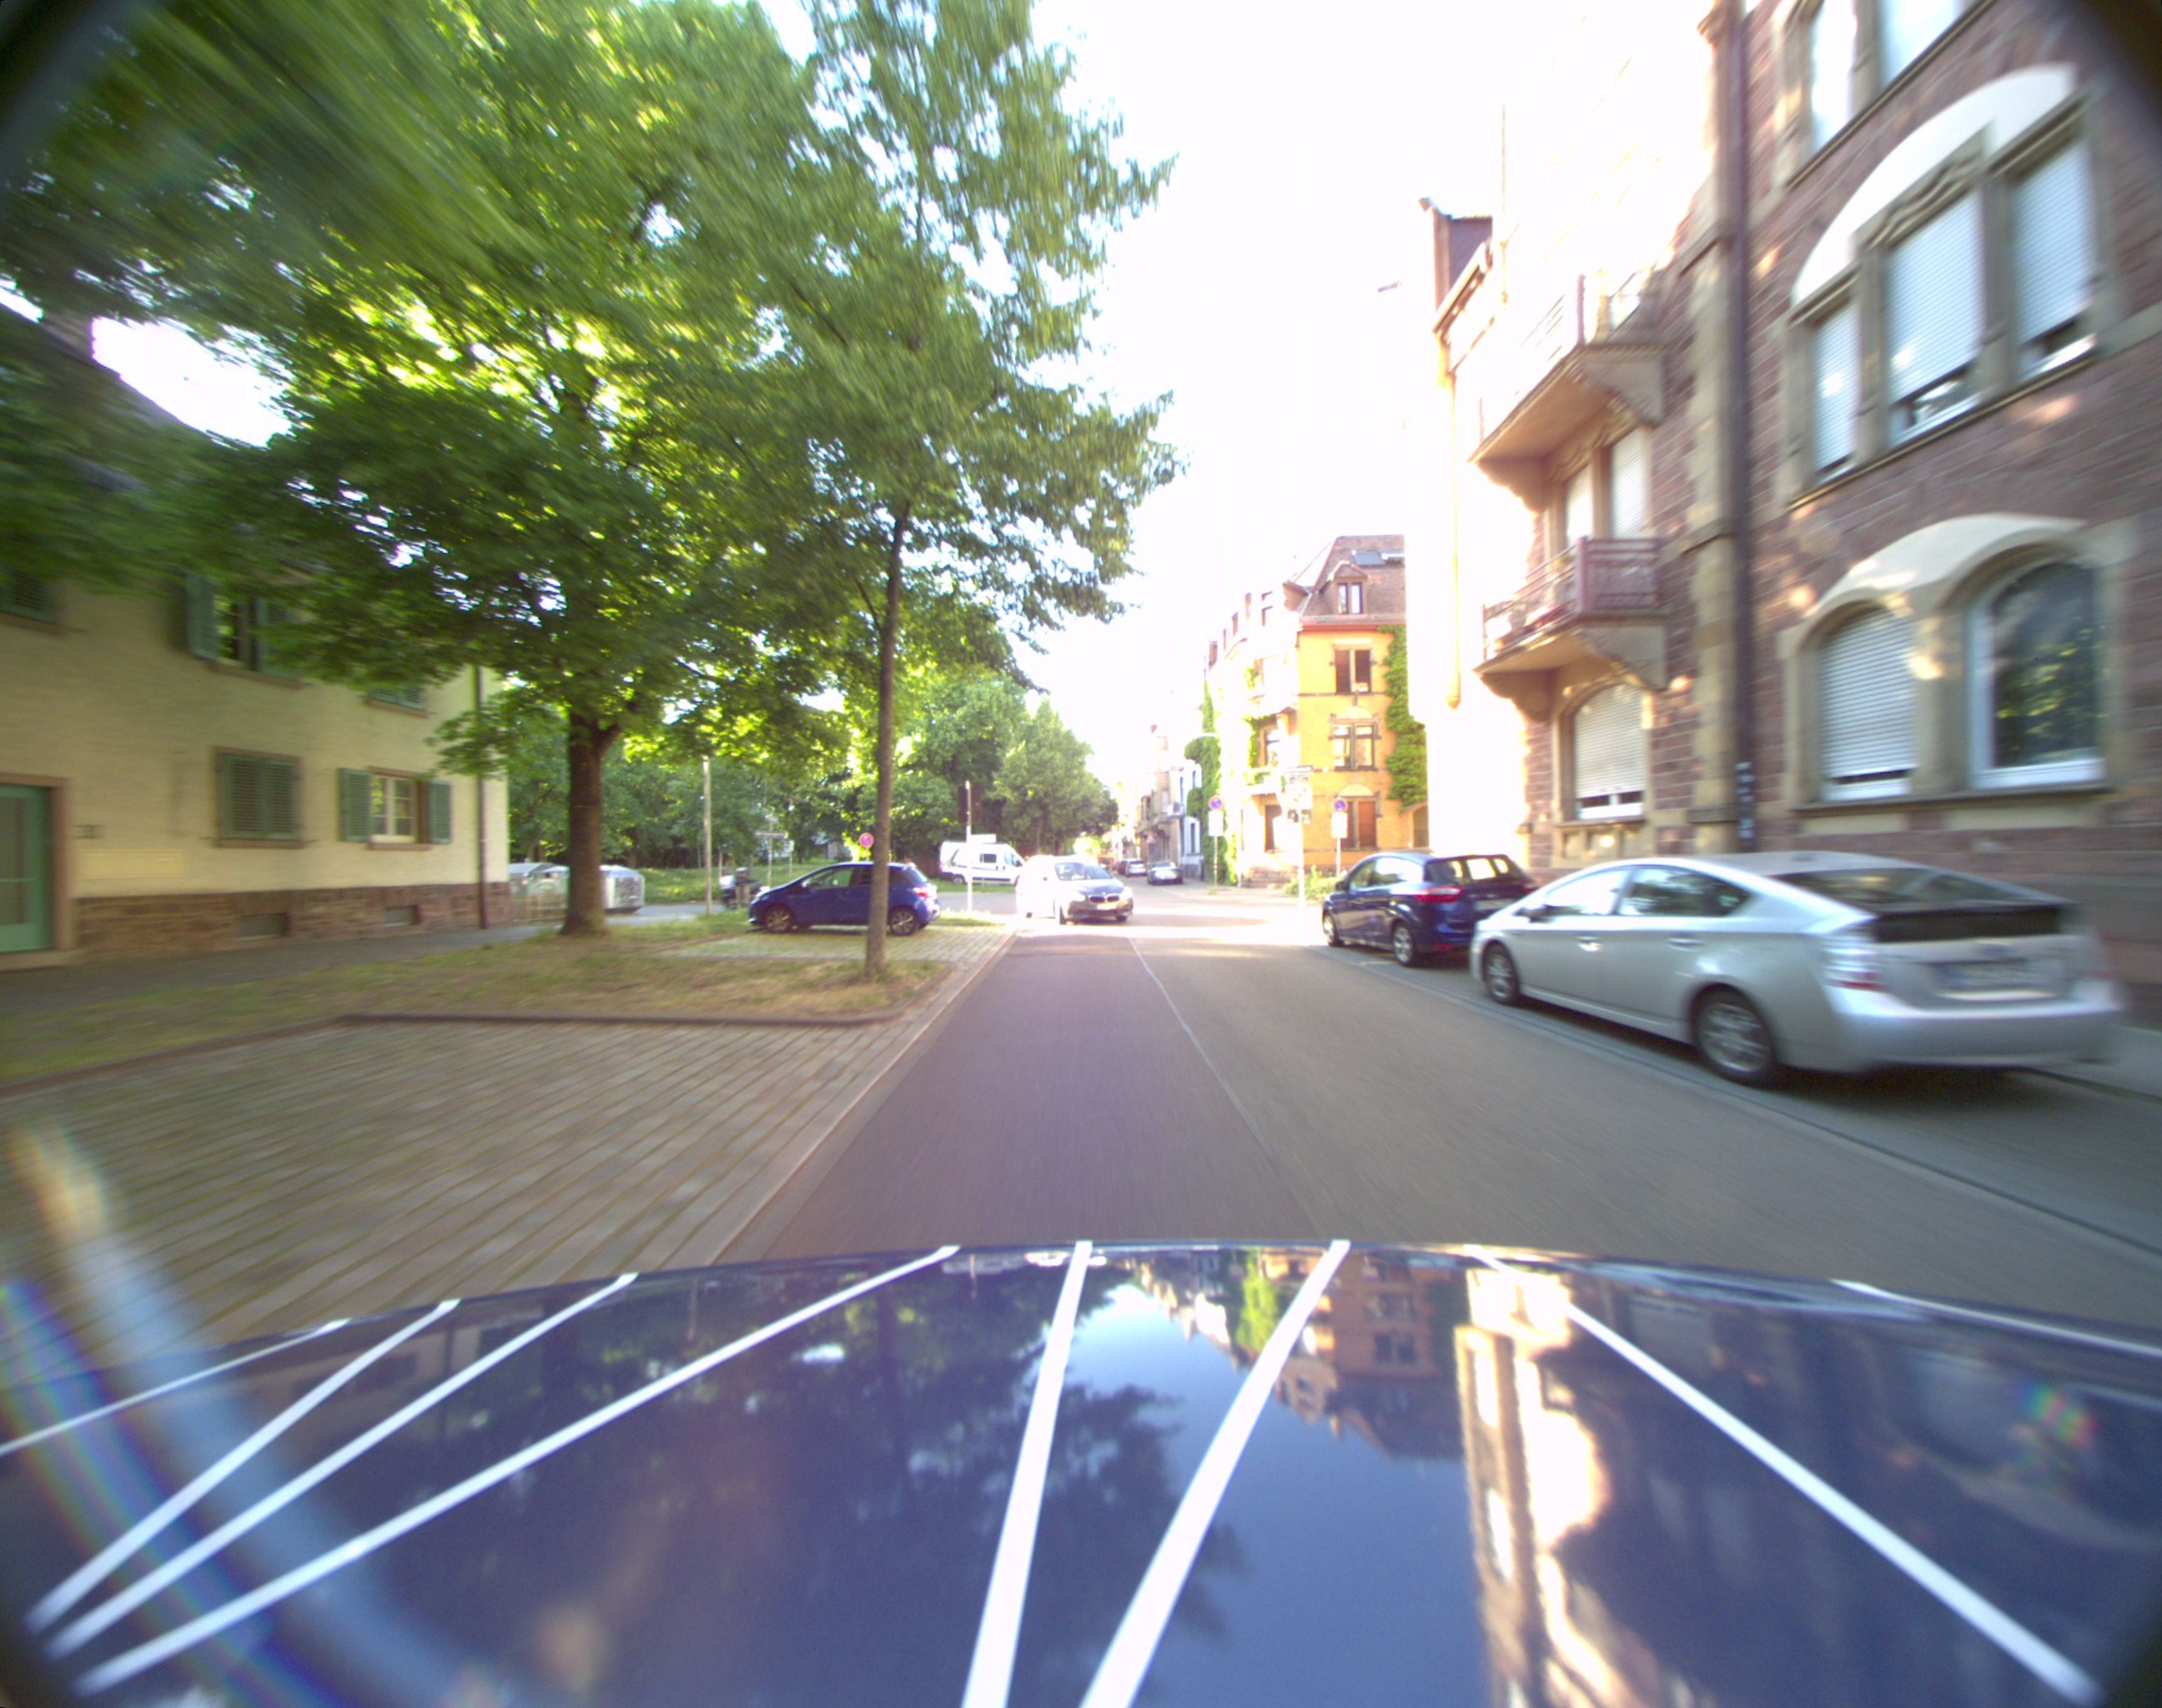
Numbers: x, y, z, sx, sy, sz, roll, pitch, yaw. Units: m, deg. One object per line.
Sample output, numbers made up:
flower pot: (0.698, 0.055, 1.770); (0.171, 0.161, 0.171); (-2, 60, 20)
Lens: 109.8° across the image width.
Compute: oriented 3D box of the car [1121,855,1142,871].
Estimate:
car: (5.412, 0.951, 81.550); (1.998, 1.616, 4.143); (-1, 1, 1)

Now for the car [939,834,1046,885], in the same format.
car: (-4.770, 0.272, 41.680); (5.628, 2.599, 2.238); (-1, 1, -1)

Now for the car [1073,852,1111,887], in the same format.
car: (0.467, 0.730, 37.073); (1.649, 1.581, 4.019); (-2, 0, -1)

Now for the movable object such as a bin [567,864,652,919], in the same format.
movable object such as a bin: (-15.176, 1.180, 24.528); (1.638, 1.648, 1.592); (-1, 1, 7)

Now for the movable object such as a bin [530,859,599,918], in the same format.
movable object such as a bin: (-16.718, 1.099, 24.628); (1.384, 1.817, 1.151); (-1, 1, 7)

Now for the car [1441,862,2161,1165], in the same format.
car: (4.957, 0.855, 6.216); (1.734, 1.490, 4.454); (-2, 0, -2)

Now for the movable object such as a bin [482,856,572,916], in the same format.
movable object such as a bin: (-18.162, 1.031, 24.997); (1.391, 1.843, 1.927); (-1, 1, 7)

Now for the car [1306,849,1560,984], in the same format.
car: (5.017, 0.794, 11.591); (1.734, 1.612, 4.258); (-2, 0, -2)

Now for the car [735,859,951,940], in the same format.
car: (-4.911, 0.923, 16.182); (3.998, 1.546, 1.999); (0, 1, -2)

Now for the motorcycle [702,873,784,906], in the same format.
motorcycle: (-12.127, 1.274, 27.310); (2.516, 1.095, 0.987); (-1, 0, 6)

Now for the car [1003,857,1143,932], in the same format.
car: (-0.354, 0.918, 19.616); (1.893, 1.612, 4.609); (-2, 1, -24)

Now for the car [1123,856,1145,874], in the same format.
car: (5.354, 1.097, 76.773); (1.998, 1.616, 4.143); (-1, 1, 1)

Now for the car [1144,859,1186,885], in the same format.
car: (5.105, 1.076, 46.724); (1.882, 1.396, 4.925); (-3, 0, -1)

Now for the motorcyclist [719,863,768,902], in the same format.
motorcyclist: (-12.113, 1.009, 27.292); (1.226, 1.333, 0.987); (-1, 0, 6)

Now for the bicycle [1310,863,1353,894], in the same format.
bicycle: (10.300, 1.003, 31.303); (1.600, 1.261, 0.565); (-1, 0, 9)

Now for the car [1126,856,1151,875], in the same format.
car: (5.104, 1.025, 68.090); (1.867, 1.537, 3.792); (-1, 1, -1)
